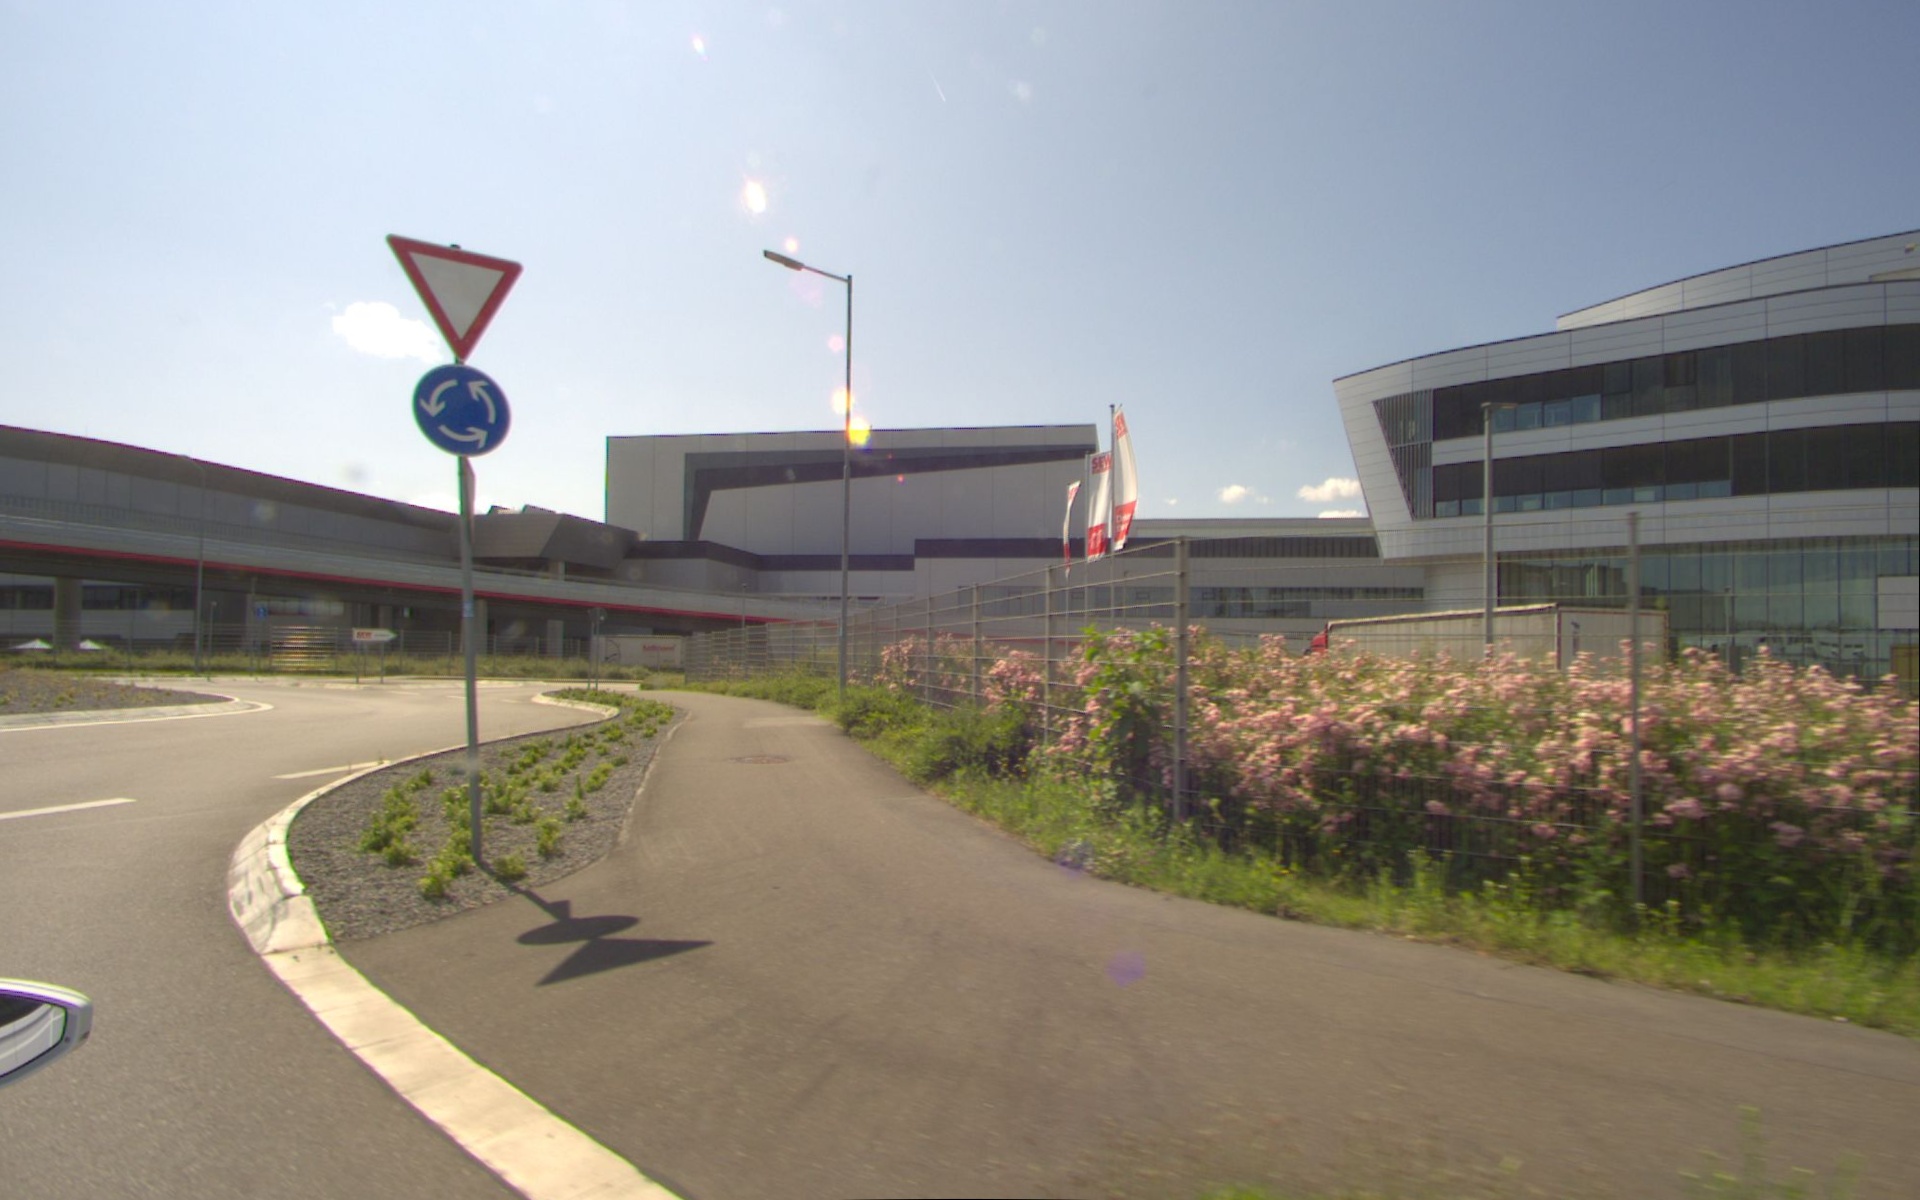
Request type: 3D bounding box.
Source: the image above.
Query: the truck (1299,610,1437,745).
[{"bbox_3d":[14.476,2.677,35.998,2.712,4.479,5.293,0,-2,0],"label":"truck"}]

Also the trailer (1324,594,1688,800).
[{"bbox_3d":[14.510,2.400,28.953,2.712,4.493,14.071,0,-2,0],"label":"trailer"}]
